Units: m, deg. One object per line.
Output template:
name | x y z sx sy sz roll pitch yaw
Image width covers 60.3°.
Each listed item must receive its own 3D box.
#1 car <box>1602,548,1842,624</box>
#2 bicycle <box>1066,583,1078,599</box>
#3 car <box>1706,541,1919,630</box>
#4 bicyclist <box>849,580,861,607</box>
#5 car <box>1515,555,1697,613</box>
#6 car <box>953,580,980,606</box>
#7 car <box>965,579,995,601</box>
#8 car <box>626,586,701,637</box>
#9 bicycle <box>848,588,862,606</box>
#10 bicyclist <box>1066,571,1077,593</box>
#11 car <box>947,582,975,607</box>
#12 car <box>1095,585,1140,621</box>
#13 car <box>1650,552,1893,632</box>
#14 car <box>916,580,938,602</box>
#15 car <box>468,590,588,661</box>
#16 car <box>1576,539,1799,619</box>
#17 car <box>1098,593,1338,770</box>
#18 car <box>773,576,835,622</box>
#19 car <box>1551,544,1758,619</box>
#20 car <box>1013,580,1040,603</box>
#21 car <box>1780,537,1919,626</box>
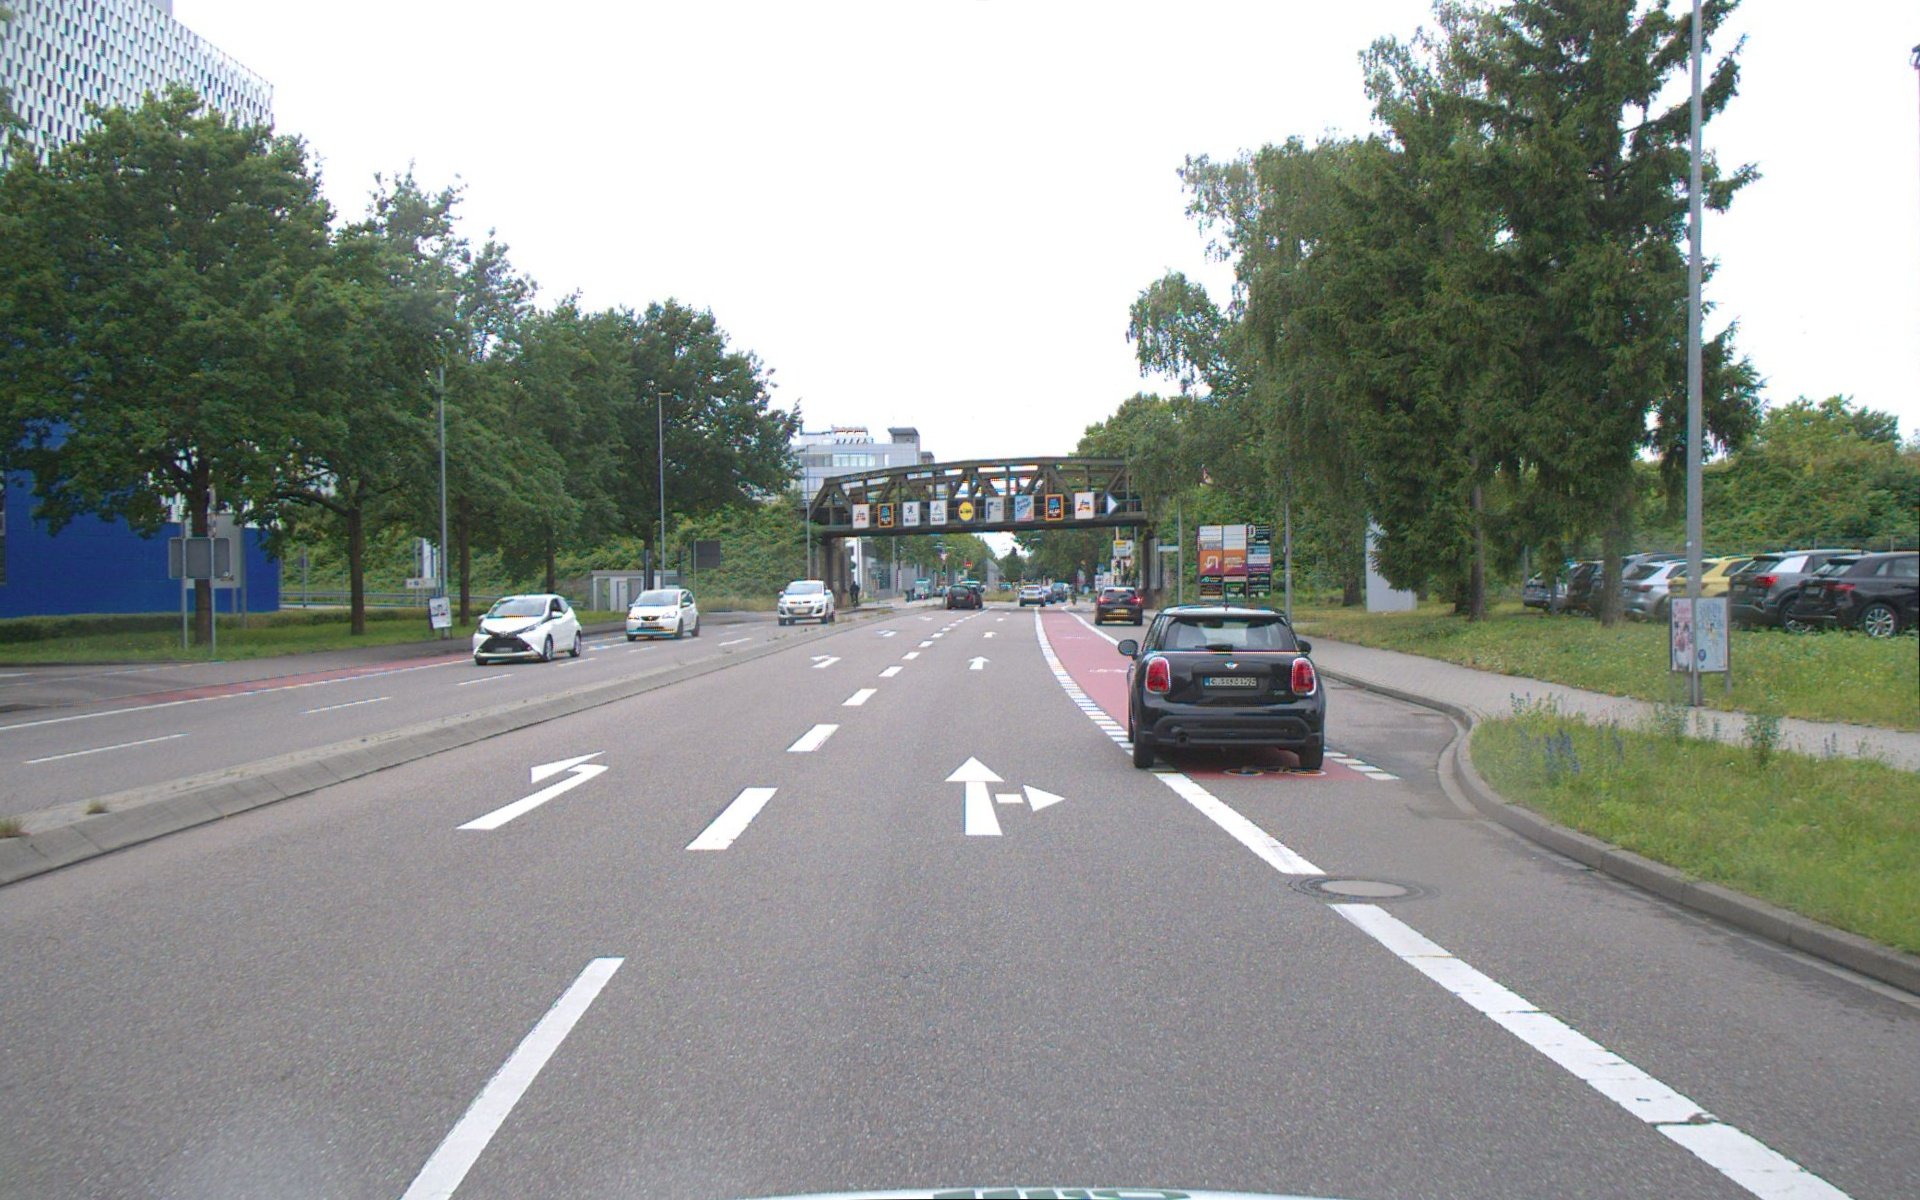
car | 16.179 -0.305 35.268 4.208 1.407 1.903 2 1 3
bicycle | 8.708 -0.685 128.983 0.799 1.234 2.684 -1 0 2
car | 15.808 -0.247 29.959 3.674 1.448 1.953 2 1 1
bicyclist | -7.461 -0.478 117.409 0.687 1.907 1.020 1 -1 2
car | 17.281 -0.441 44.334 4.212 1.515 1.739 0 1 -4
car | 0.416 -0.467 111.484 1.737 1.681 3.669 0 1 -1
car | 1.423 -0.737 119.281 1.922 1.554 5.009 0 1 -1
car | -8.939 0.325 50.049 1.642 1.453 3.650 -1 1 -1
bicycle | -7.466 -0.196 117.437 0.698 1.207 2.371 1 0 2
bicyclist | 8.691 -1.417 128.983 0.799 1.658 1.235 -1 0 2
car | 0.045 -0.349 104.774 1.732 1.554 3.669 0 1 -1
car | 5.835 0.097 61.276 1.612 1.303 3.422 1 1 5
car | 16.040 -0.161 32.846 3.911 1.403 1.811 2 1 4
car | -4.455 -1.148 222.765 2.279 2.875 5.953 -1 0 5
car | -9.578 0.532 36.919 1.590 1.447 3.612 -2 0 2
car | 16.543 -0.483 37.772 4.208 1.629 1.970 2 1 3
car | 2.328 0.679 15.800 1.645 1.456 3.773 0 1 -1
car | -5.957 -0.071 63.632 1.780 1.614 4.514 -3 1 2
car | 16.922 -0.458 40.460 4.209 1.629 1.969 2 1 0
car | 4.841 -0.628 120.407 1.786 1.628 3.775 0 1 -1
car | 15.964 -0.256 27.268 3.909 1.377 1.903 2 1 3
